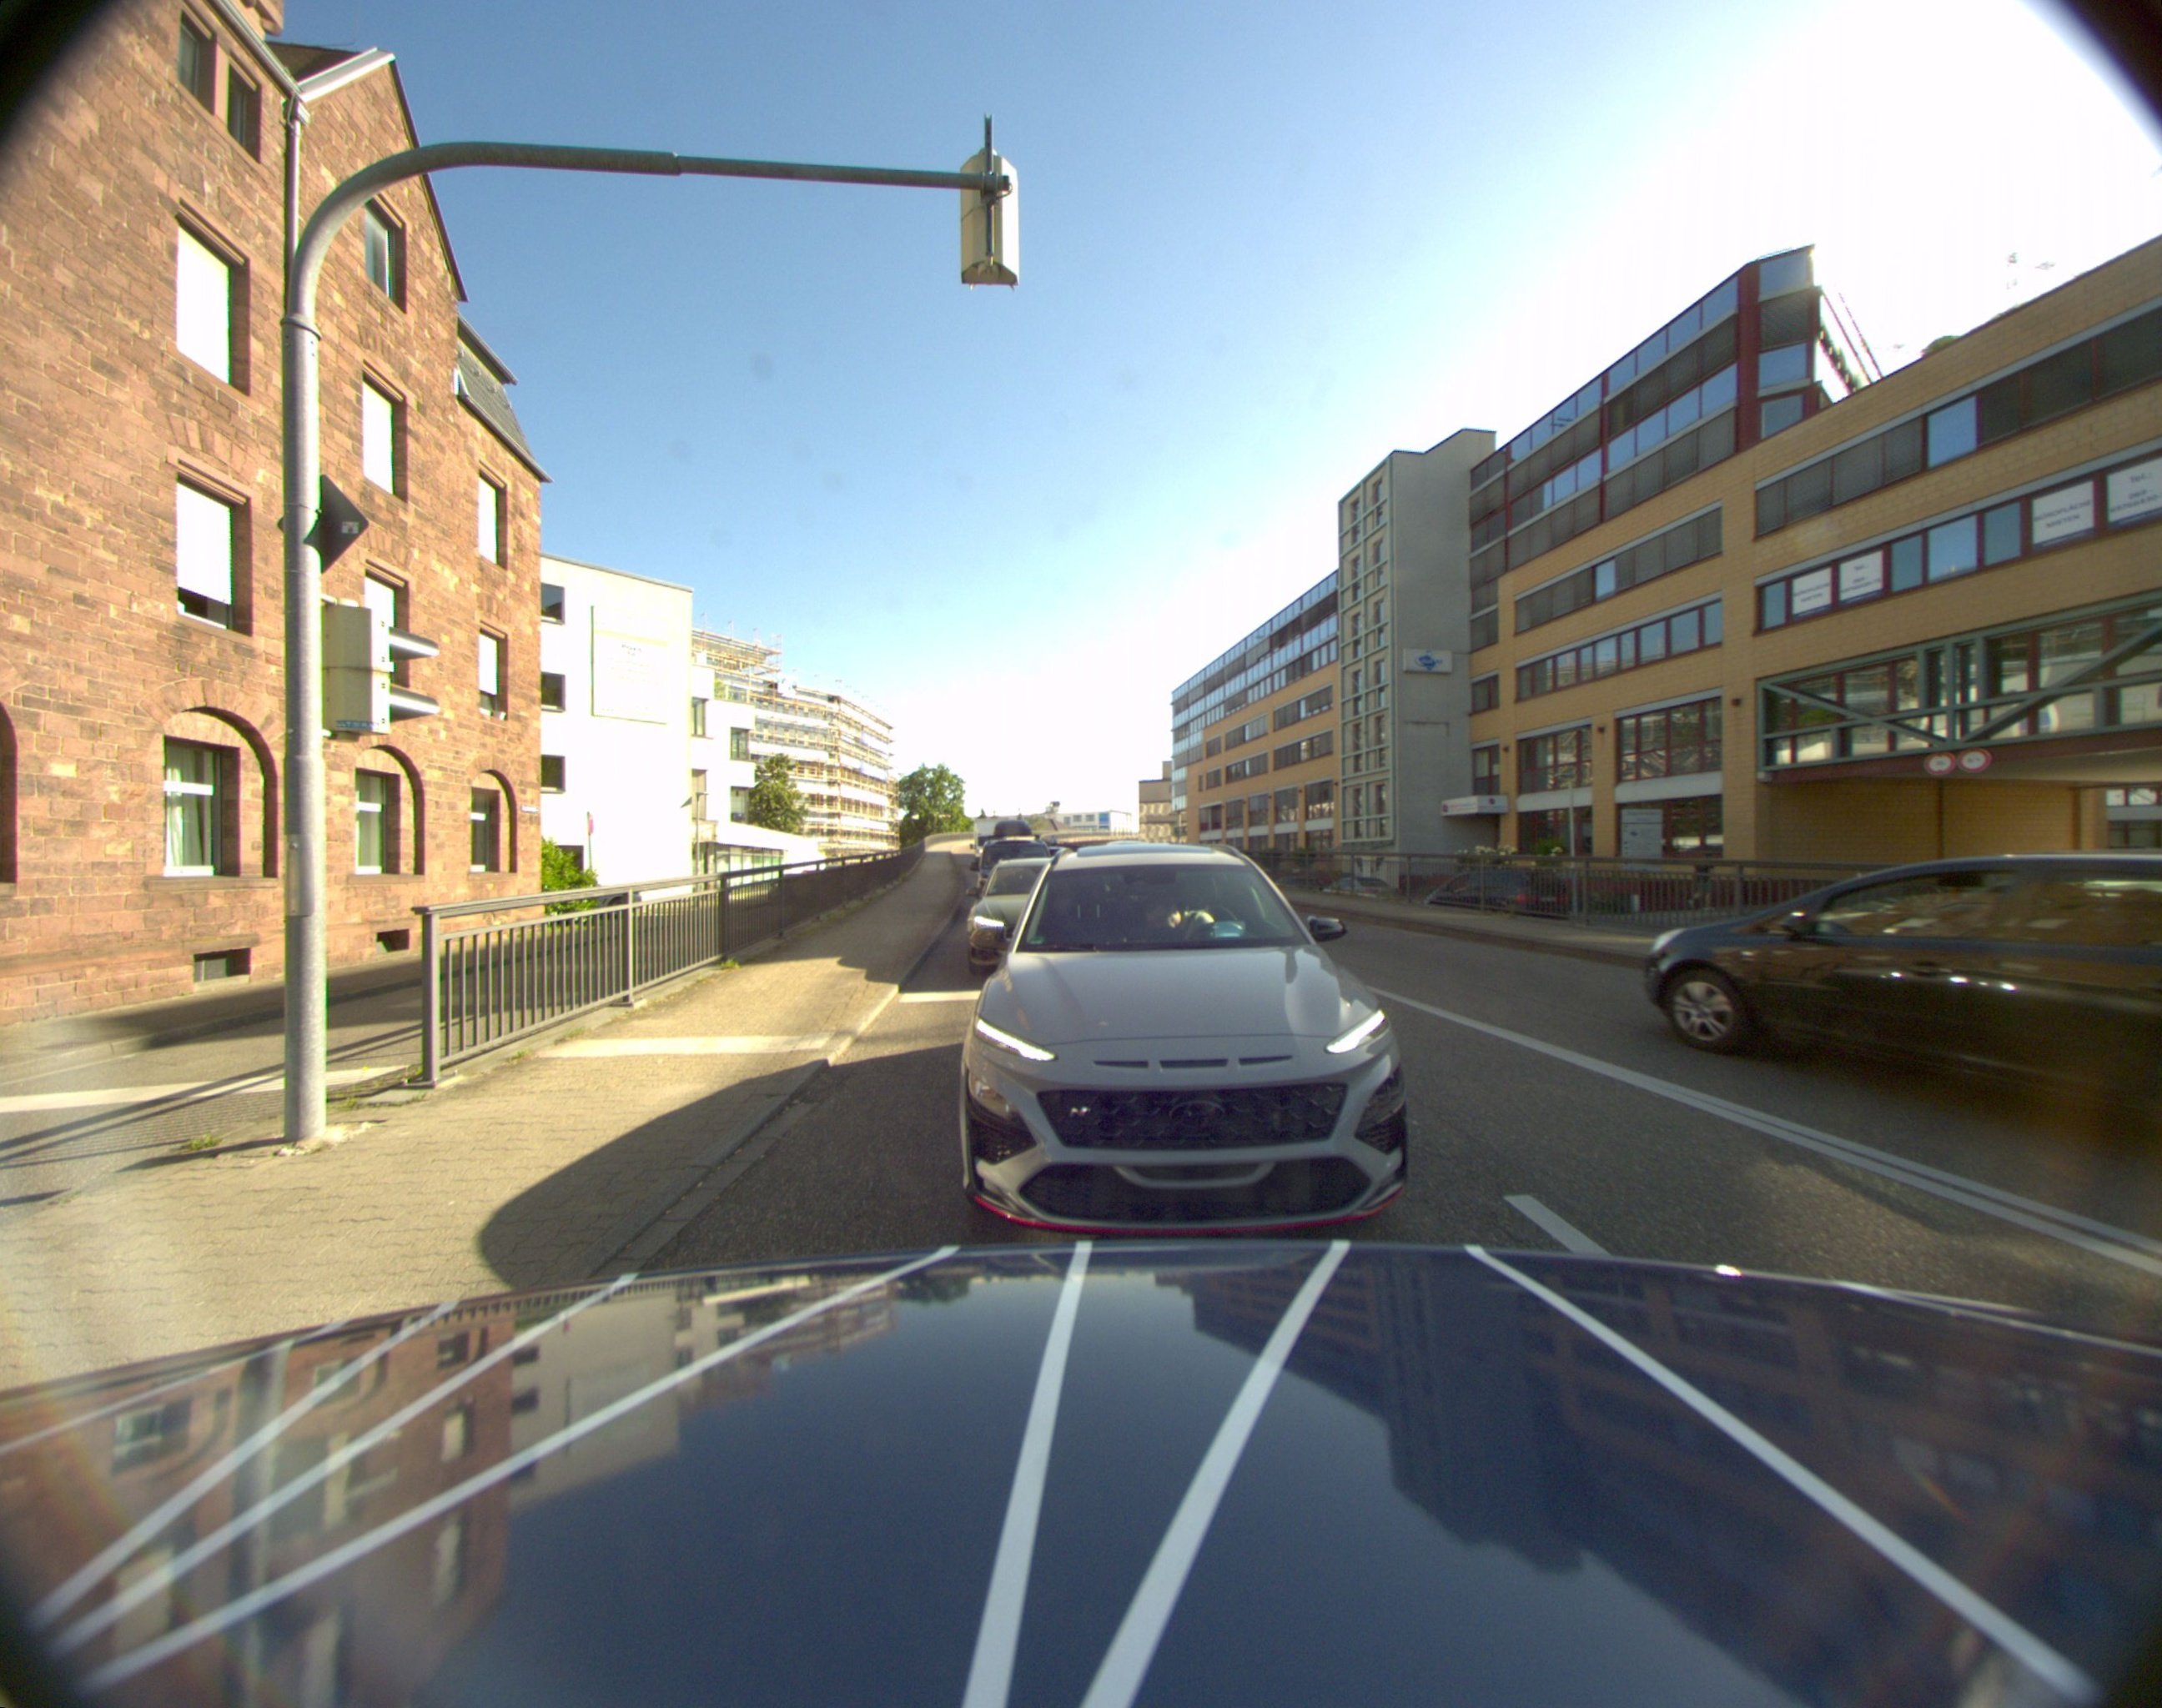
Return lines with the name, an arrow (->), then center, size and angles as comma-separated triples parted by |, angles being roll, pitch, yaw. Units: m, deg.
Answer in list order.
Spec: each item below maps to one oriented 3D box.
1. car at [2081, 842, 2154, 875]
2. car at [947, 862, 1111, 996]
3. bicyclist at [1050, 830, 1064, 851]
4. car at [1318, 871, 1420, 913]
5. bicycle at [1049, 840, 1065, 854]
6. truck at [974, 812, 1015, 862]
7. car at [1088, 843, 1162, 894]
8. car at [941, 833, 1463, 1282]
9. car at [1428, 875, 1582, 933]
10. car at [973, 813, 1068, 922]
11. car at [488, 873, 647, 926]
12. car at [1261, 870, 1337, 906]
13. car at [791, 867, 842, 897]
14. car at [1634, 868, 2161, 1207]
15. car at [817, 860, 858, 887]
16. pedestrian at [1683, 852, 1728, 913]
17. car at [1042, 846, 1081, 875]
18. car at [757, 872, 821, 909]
car -> 54.025, 0.226, 39.673 | 4.007, 1.512, 1.763 | -3, 1, -43
car -> -0.764, 0.888, 11.105 | 1.879, 1.462, 4.633 | 0, 0, -4
bicyclist -> -2.243, -1.266, 70.494 | 1.083, 1.861, 1.083 | -2, 1, -9
car -> 11.383, 1.442, 30.364 | 1.881, 1.514, 4.157 | 0, -1, -11
bicycle -> -2.211, -0.674, 70.471 | 1.083, 1.223, 2.781 | -2, 1, -9
truck -> -5.788, -1.029, 50.823 | 2.504, 3.109, 6.956 | -1, -1, -7
car -> 1.554, 0.477, 28.434 | 1.838, 1.745, 4.485 | 0, 1, -9
car -> 0.506, 0.748, 4.852 | 1.878, 1.612, 4.197 | 0, 0, 2
car -> 12.506, 1.412, 22.737 | 1.639, 1.514, 4.156 | 0, -1, -14
car -> -1.476, 0.312, 18.197 | 1.951, 2.248, 4.783 | 0, -1, -5
car -> -17.051, 1.450, 25.324 | 4.101, 1.522, 1.914 | 0, -1, -44
car -> 10.133, 1.554, 35.652 | 1.885, 1.554, 3.997 | 0, -1, -9
car -> -14.477, 1.495, 41.778 | 2.054, 1.522, 4.089 | -1, -1, -11
car -> 5.408, 0.842, 4.190 | 1.573, 1.399, 3.818 | 0, 1, -8
car -> -15.797, 1.236, 49.455 | 2.054, 1.676, 4.089 | -1, -1, -11
pedestrian -> 19.308, 0.873, 23.496 | 0.747, 1.840, 0.705 | -2, 0, -5
car -> -1.201, 0.321, 44.491 | 1.688, 1.593, 4.753 | 0, 1, -9
car -> -13.356, 1.630, 34.989 | 2.054, 1.522, 4.089 | -1, -1, -11
